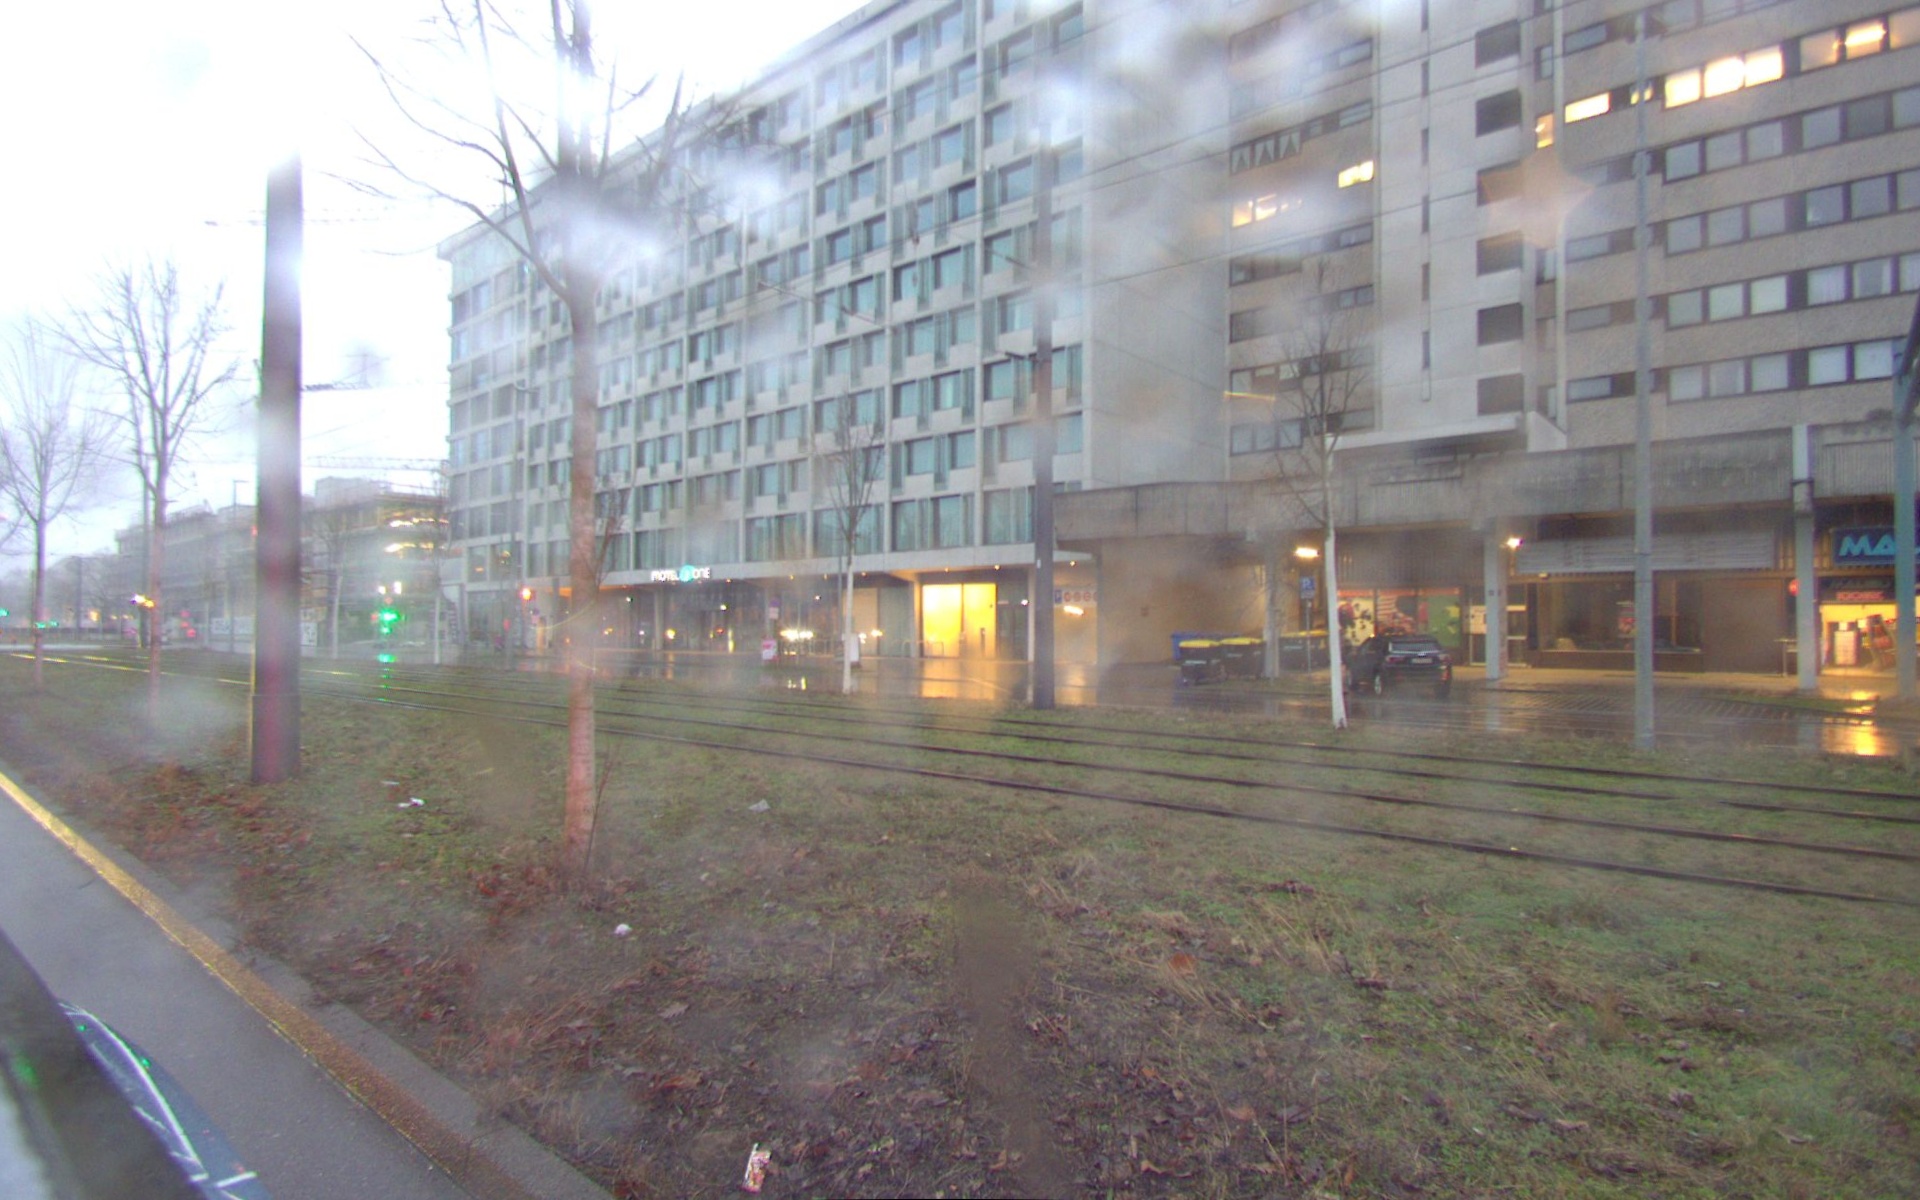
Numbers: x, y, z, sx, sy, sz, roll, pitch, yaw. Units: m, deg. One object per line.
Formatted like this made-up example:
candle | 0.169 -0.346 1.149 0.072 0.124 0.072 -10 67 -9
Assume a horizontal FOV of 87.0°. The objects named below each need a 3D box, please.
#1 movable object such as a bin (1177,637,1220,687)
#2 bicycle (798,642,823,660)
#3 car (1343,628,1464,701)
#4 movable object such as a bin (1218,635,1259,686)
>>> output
movable object such as a bin | 7.332 1.889 31.096 1.027 1.437 1.063 -1 0 30
bicycle | -7.840 2.691 53.185 0.465 0.860 1.332 -1 0 39
car | 11.966 1.686 27.586 1.962 1.706 4.131 -1 0 9
movable object such as a bin | 8.686 1.861 31.549 1.008 1.512 1.042 -1 0 30
